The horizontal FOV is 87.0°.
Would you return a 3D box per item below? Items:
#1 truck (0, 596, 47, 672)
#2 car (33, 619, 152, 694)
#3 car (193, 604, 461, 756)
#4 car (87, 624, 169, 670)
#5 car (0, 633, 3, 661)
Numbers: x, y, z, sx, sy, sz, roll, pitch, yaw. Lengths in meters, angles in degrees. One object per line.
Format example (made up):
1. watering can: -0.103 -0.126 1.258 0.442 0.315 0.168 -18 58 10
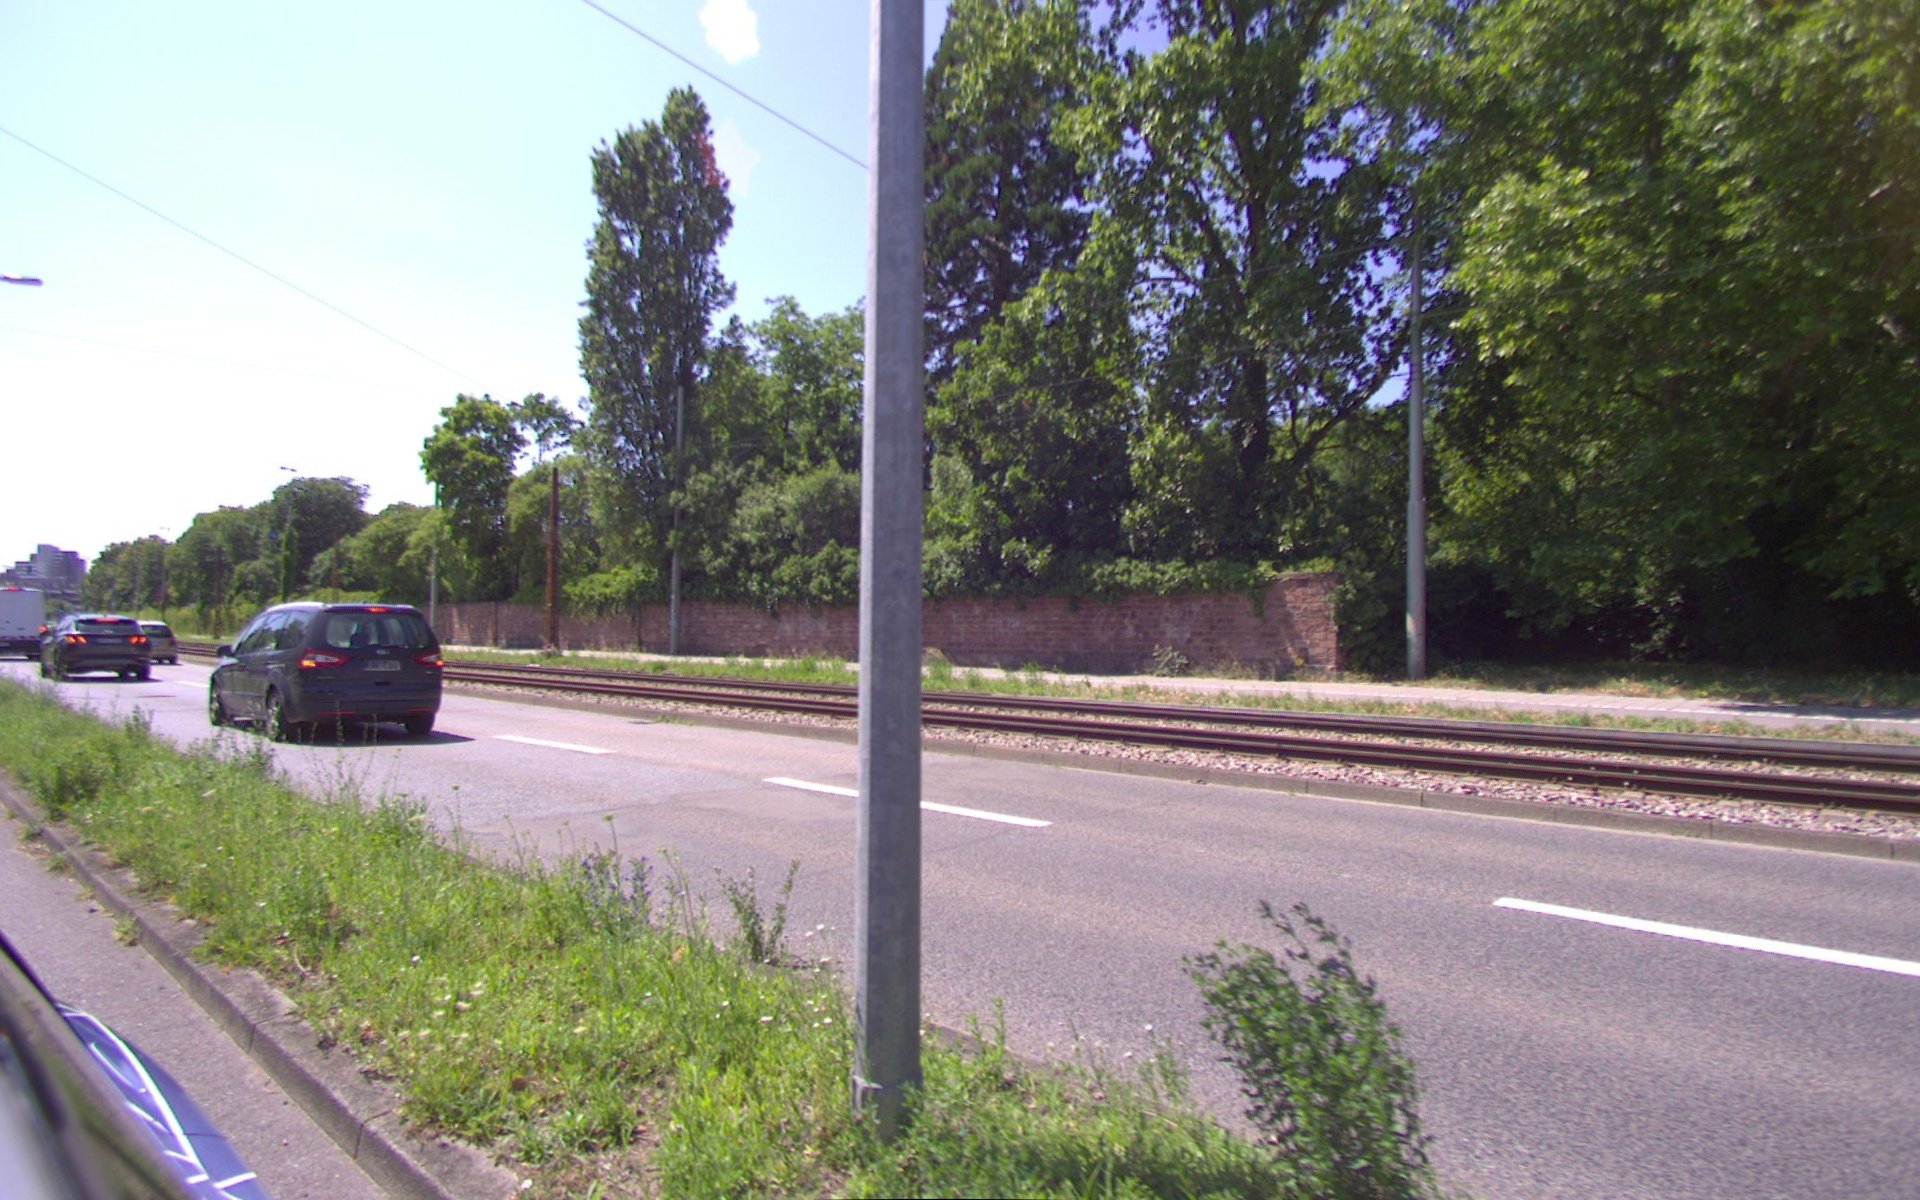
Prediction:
1. truck: -37.296 1.328 39.333 5.545 2.769 2.059 -2 -4 42
2. car: -22.321 1.423 25.990 4.488 1.770 1.809 -2 -4 43
3. car: -8.750 1.003 13.800 4.792 1.726 1.809 -2 -4 42
4. car: -30.602 1.726 37.198 3.771 1.597 1.809 -2 -4 43
5. car: -63.228 3.020 65.259 4.587 1.762 1.879 -2 -4 43
